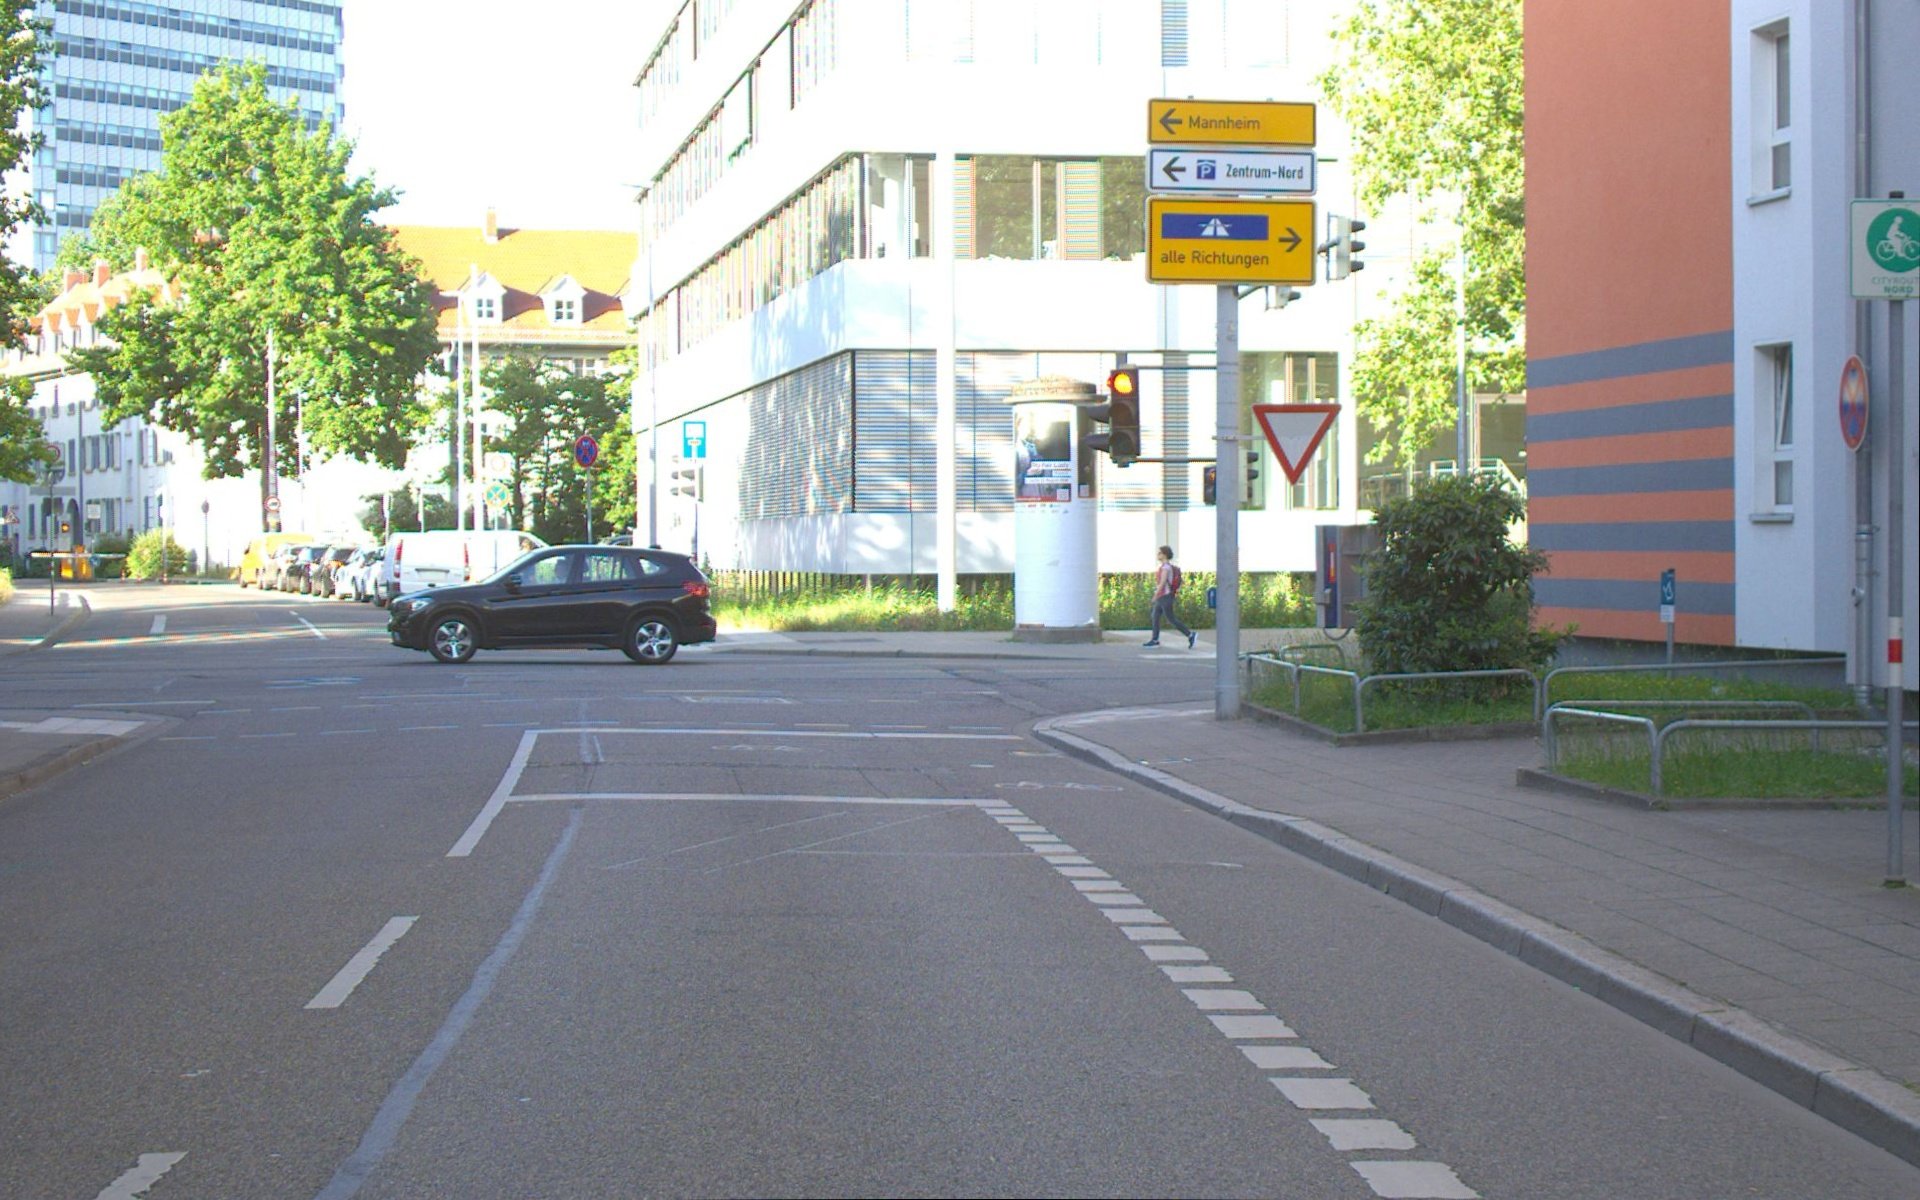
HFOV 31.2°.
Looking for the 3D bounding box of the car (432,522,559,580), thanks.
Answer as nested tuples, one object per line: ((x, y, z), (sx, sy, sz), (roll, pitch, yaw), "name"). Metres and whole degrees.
((-16.281, -1.706, 120.462), (3.986, 1.909, 1.920), (2, 0, -22), "car")

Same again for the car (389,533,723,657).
((-5.521, -0.097, 46.716), (4.364, 1.627, 2.001), (0, 1, -11), "car")

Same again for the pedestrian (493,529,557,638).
((-7.154, -0.269, 56.533), (0.926, 1.753, 0.848), (2, 0, -13), "pedestrian")

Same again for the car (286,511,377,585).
((-18.949, -1.555, 103.431), (2.329, 2.105, 5.007), (2, 0, -14), "car")

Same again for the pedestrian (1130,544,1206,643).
((3.235, -0.101, 53.509), (0.926, 1.510, 0.848), (2, 0, -13), "pedestrian")

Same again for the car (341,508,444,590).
((-15.570, -1.380, 94.088), (2.329, 2.105, 5.007), (2, 0, -14), "car")

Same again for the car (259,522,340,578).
((-21.803, -1.633, 113.353), (2.329, 1.727, 5.007), (2, 0, -14), "car")

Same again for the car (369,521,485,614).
((-12.857, -0.781, 82.695), (2.423, 2.105, 5.233), (2, 0, -12), "car")

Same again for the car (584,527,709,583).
((-11.174, -1.605, 122.622), (3.986, 1.876, 1.936), (2, 0, -22), "car")
